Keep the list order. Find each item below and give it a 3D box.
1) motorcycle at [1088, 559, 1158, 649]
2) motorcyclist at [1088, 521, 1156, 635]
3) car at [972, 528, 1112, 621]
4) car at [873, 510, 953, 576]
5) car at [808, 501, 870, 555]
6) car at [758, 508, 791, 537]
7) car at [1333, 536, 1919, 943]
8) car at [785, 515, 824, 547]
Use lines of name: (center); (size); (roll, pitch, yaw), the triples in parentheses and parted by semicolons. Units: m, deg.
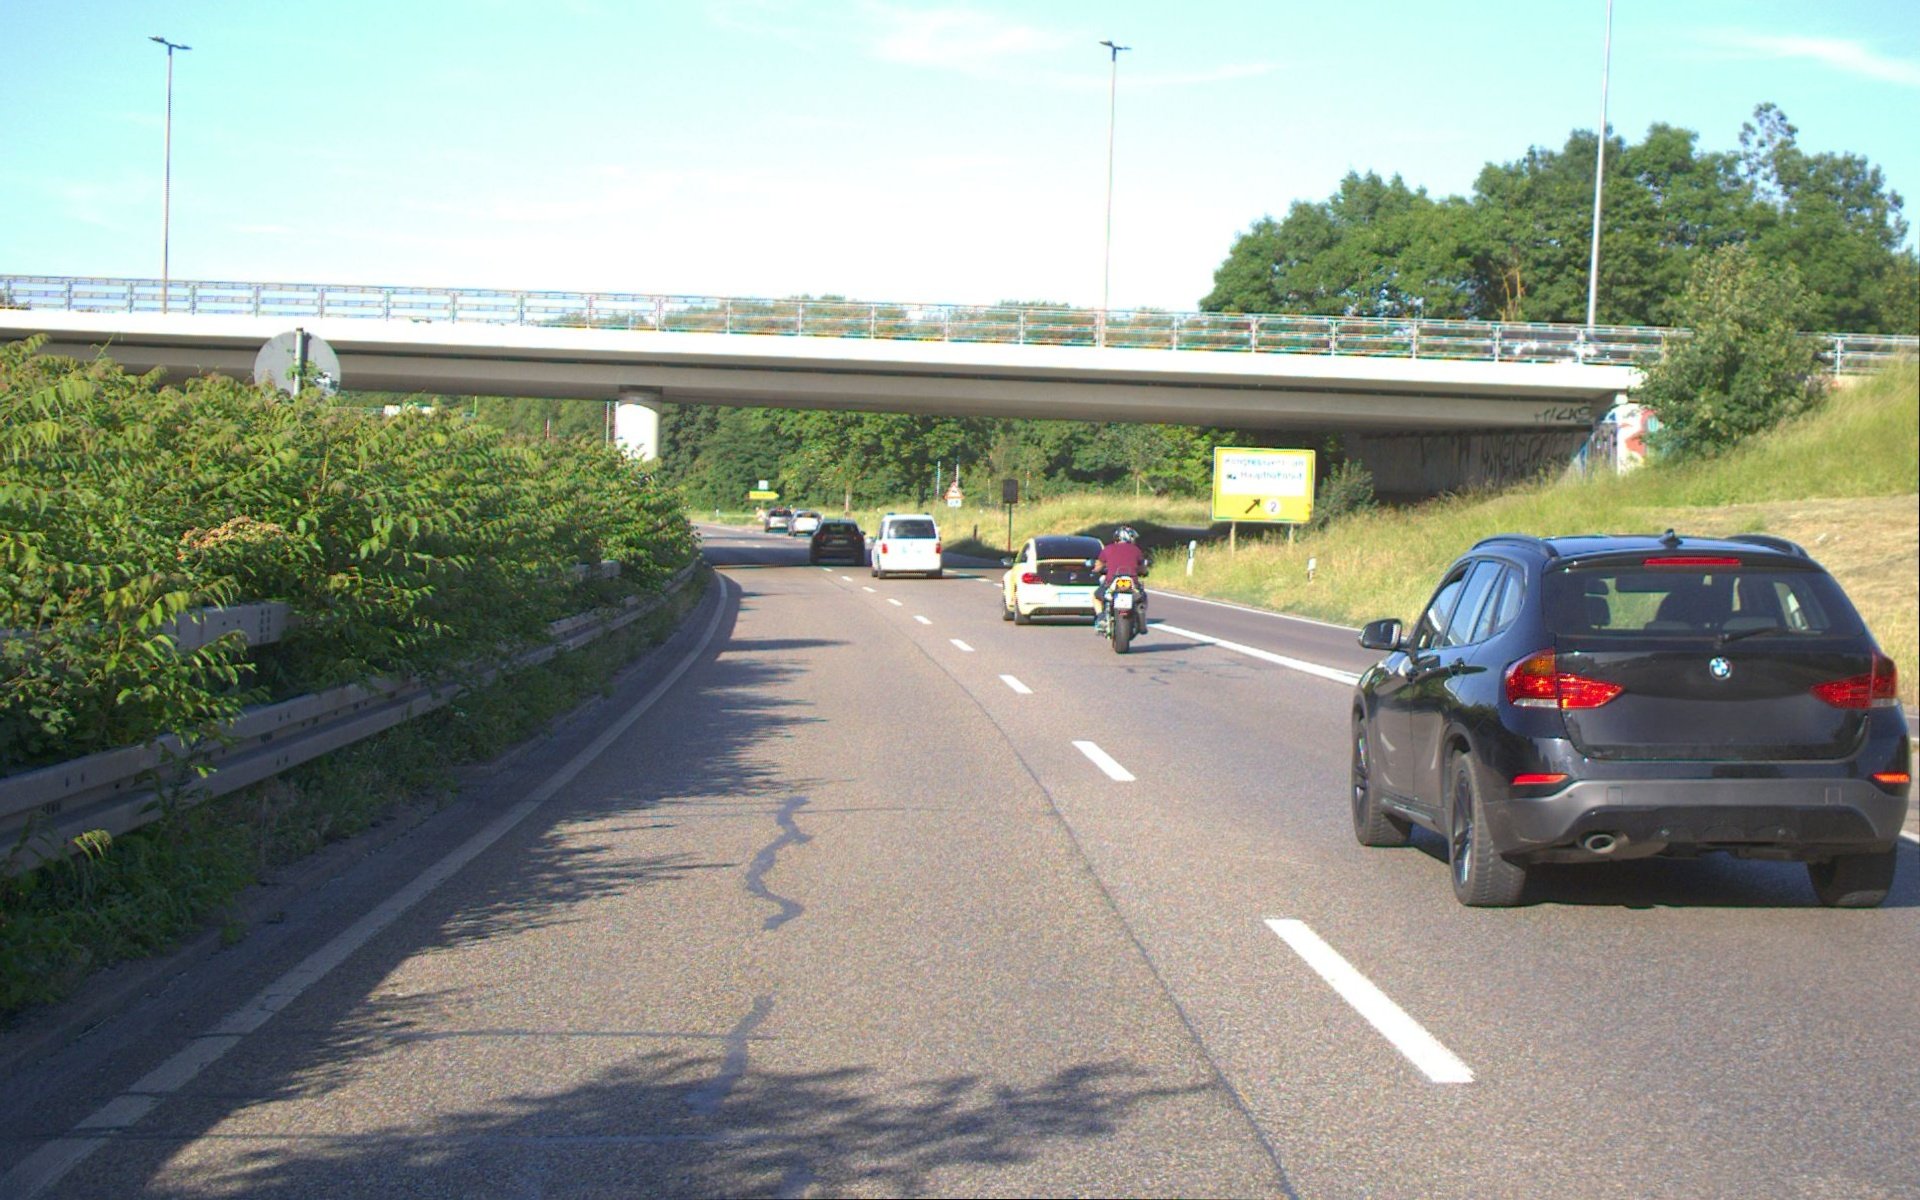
motorcycle: (2.088, 0.032, 44.396); (0.816, 1.066, 2.836); (1, 2, 1)
motorcyclist: (2.089, -0.290, 44.482); (0.816, 1.442, 1.094); (1, 1, 1)
car: (1.329, -0.445, 57.166); (1.897, 1.466, 4.001); (0, 1, -5)
car: (-1.328, -1.591, 95.217); (1.897, 1.761, 4.001); (0, 1, -5)
car: (-4.113, -2.450, 116.616); (1.897, 1.761, 4.001); (0, 2, -5)
car: (-11.148, -4.655, 206.455); (1.868, 1.679, 4.001); (2, 1, -5)
car: (2.820, 0.490, 15.389); (1.699, 1.501, 4.580); (0, 2, -1)
car: (-8.538, -3.810, 188.775); (1.868, 1.679, 4.001); (2, 1, -6)
